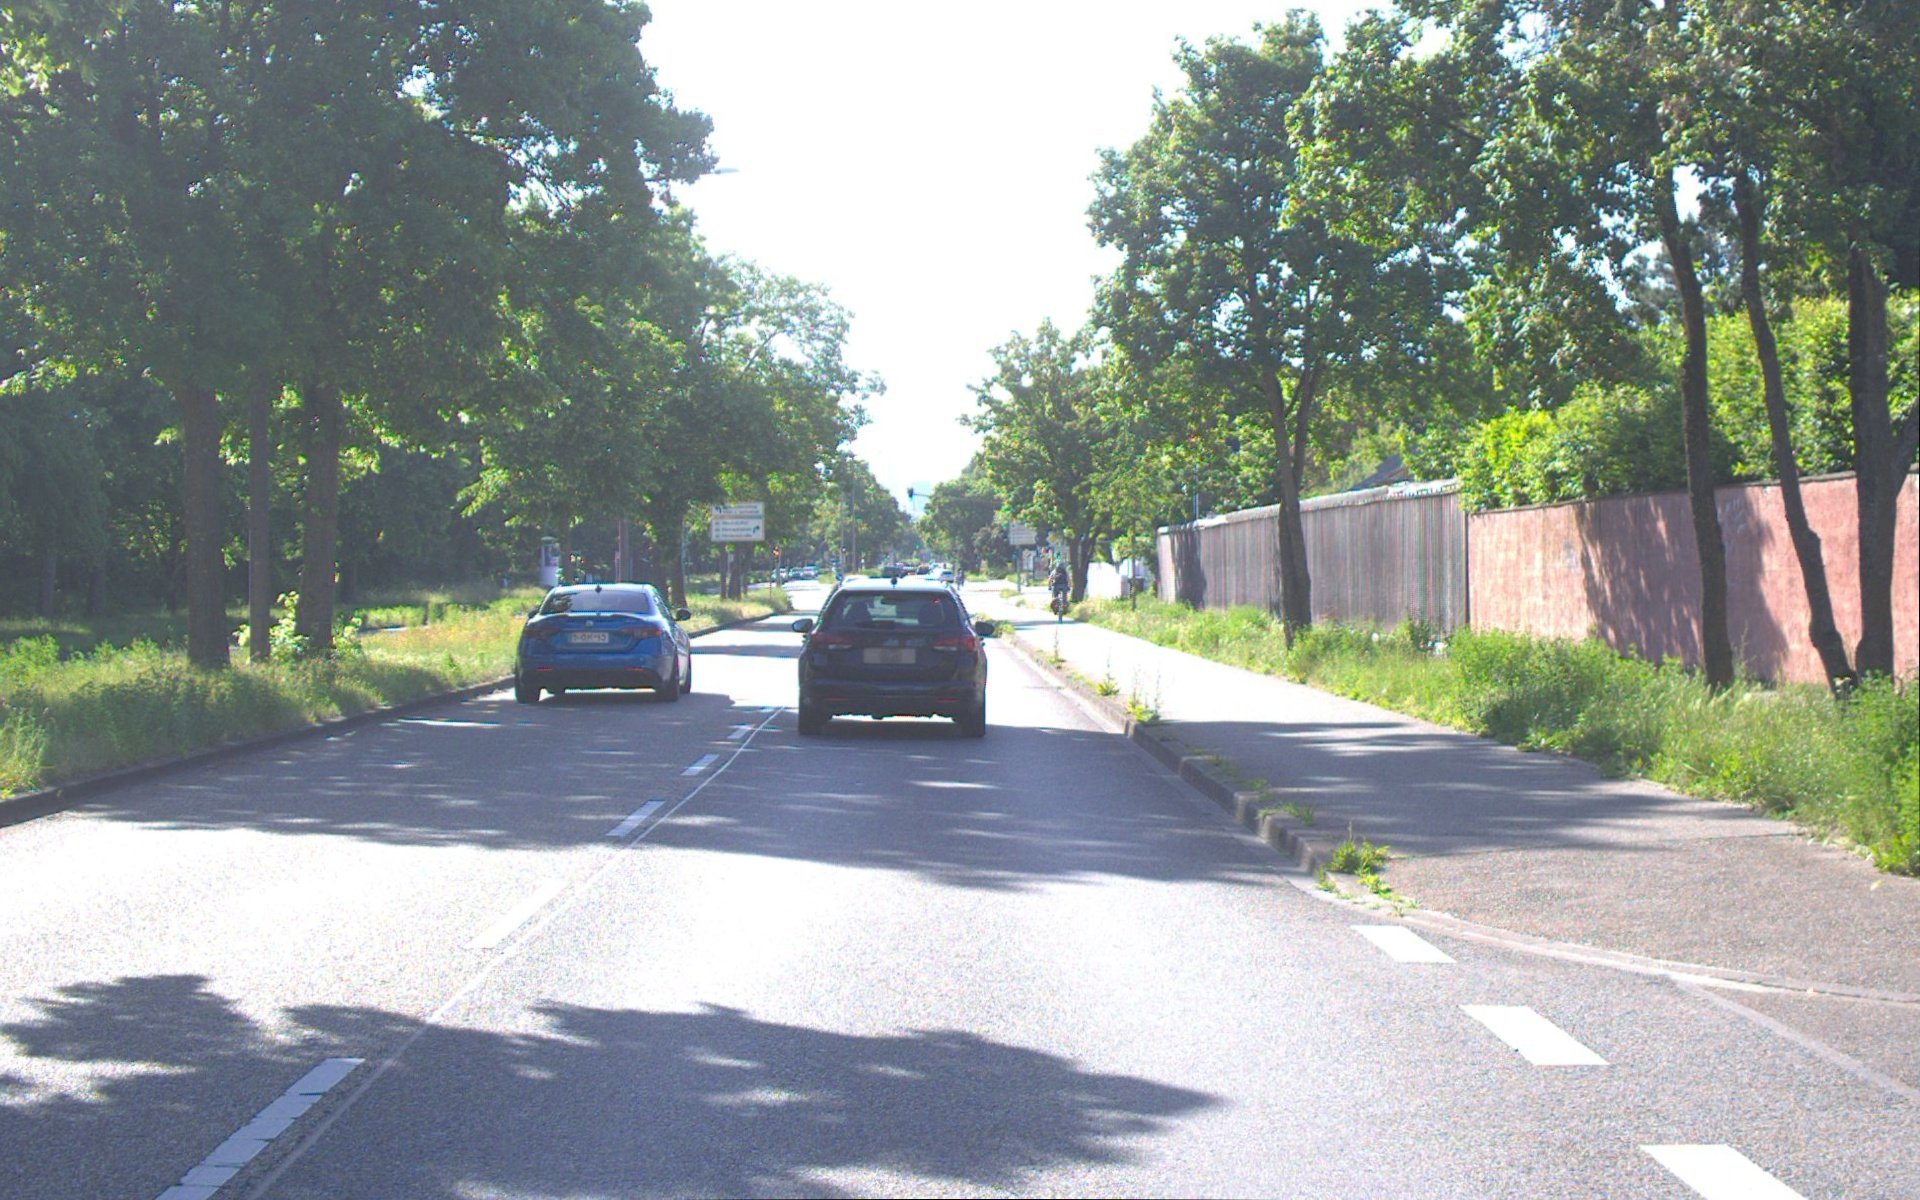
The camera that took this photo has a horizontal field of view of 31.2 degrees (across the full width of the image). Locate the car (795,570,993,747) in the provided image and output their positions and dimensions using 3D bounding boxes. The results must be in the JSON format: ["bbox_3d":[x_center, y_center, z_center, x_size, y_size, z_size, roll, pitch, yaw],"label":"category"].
[{"bbox_3d":[-0.583,0.525,33.246,1.760,1.554,4.000,2,0,0],"label":"car"}]

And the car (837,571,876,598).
[{"bbox_3d":[-5.749,-0.884,191.300,1.978,1.435,4.001,0,1,-4],"label":"car"}]

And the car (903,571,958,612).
[{"bbox_3d":[-1.117,-0.321,128.817,1.978,1.435,4.001,0,1,-2],"label":"car"}]

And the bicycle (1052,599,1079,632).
[{"bbox_3d":[2.911,0.415,94.680,0.655,0.889,1.875,0,0,-1],"label":"bicycle"}]

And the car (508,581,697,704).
[{"bbox_3d":[-4.271,0.483,41.629,1.994,1.400,4.000,0,1,-2],"label":"car"}]

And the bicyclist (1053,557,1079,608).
[{"bbox_3d":[2.916,-0.486,94.718,0.680,1.414,0.812,0,0,-1],"label":"bicyclist"}]
